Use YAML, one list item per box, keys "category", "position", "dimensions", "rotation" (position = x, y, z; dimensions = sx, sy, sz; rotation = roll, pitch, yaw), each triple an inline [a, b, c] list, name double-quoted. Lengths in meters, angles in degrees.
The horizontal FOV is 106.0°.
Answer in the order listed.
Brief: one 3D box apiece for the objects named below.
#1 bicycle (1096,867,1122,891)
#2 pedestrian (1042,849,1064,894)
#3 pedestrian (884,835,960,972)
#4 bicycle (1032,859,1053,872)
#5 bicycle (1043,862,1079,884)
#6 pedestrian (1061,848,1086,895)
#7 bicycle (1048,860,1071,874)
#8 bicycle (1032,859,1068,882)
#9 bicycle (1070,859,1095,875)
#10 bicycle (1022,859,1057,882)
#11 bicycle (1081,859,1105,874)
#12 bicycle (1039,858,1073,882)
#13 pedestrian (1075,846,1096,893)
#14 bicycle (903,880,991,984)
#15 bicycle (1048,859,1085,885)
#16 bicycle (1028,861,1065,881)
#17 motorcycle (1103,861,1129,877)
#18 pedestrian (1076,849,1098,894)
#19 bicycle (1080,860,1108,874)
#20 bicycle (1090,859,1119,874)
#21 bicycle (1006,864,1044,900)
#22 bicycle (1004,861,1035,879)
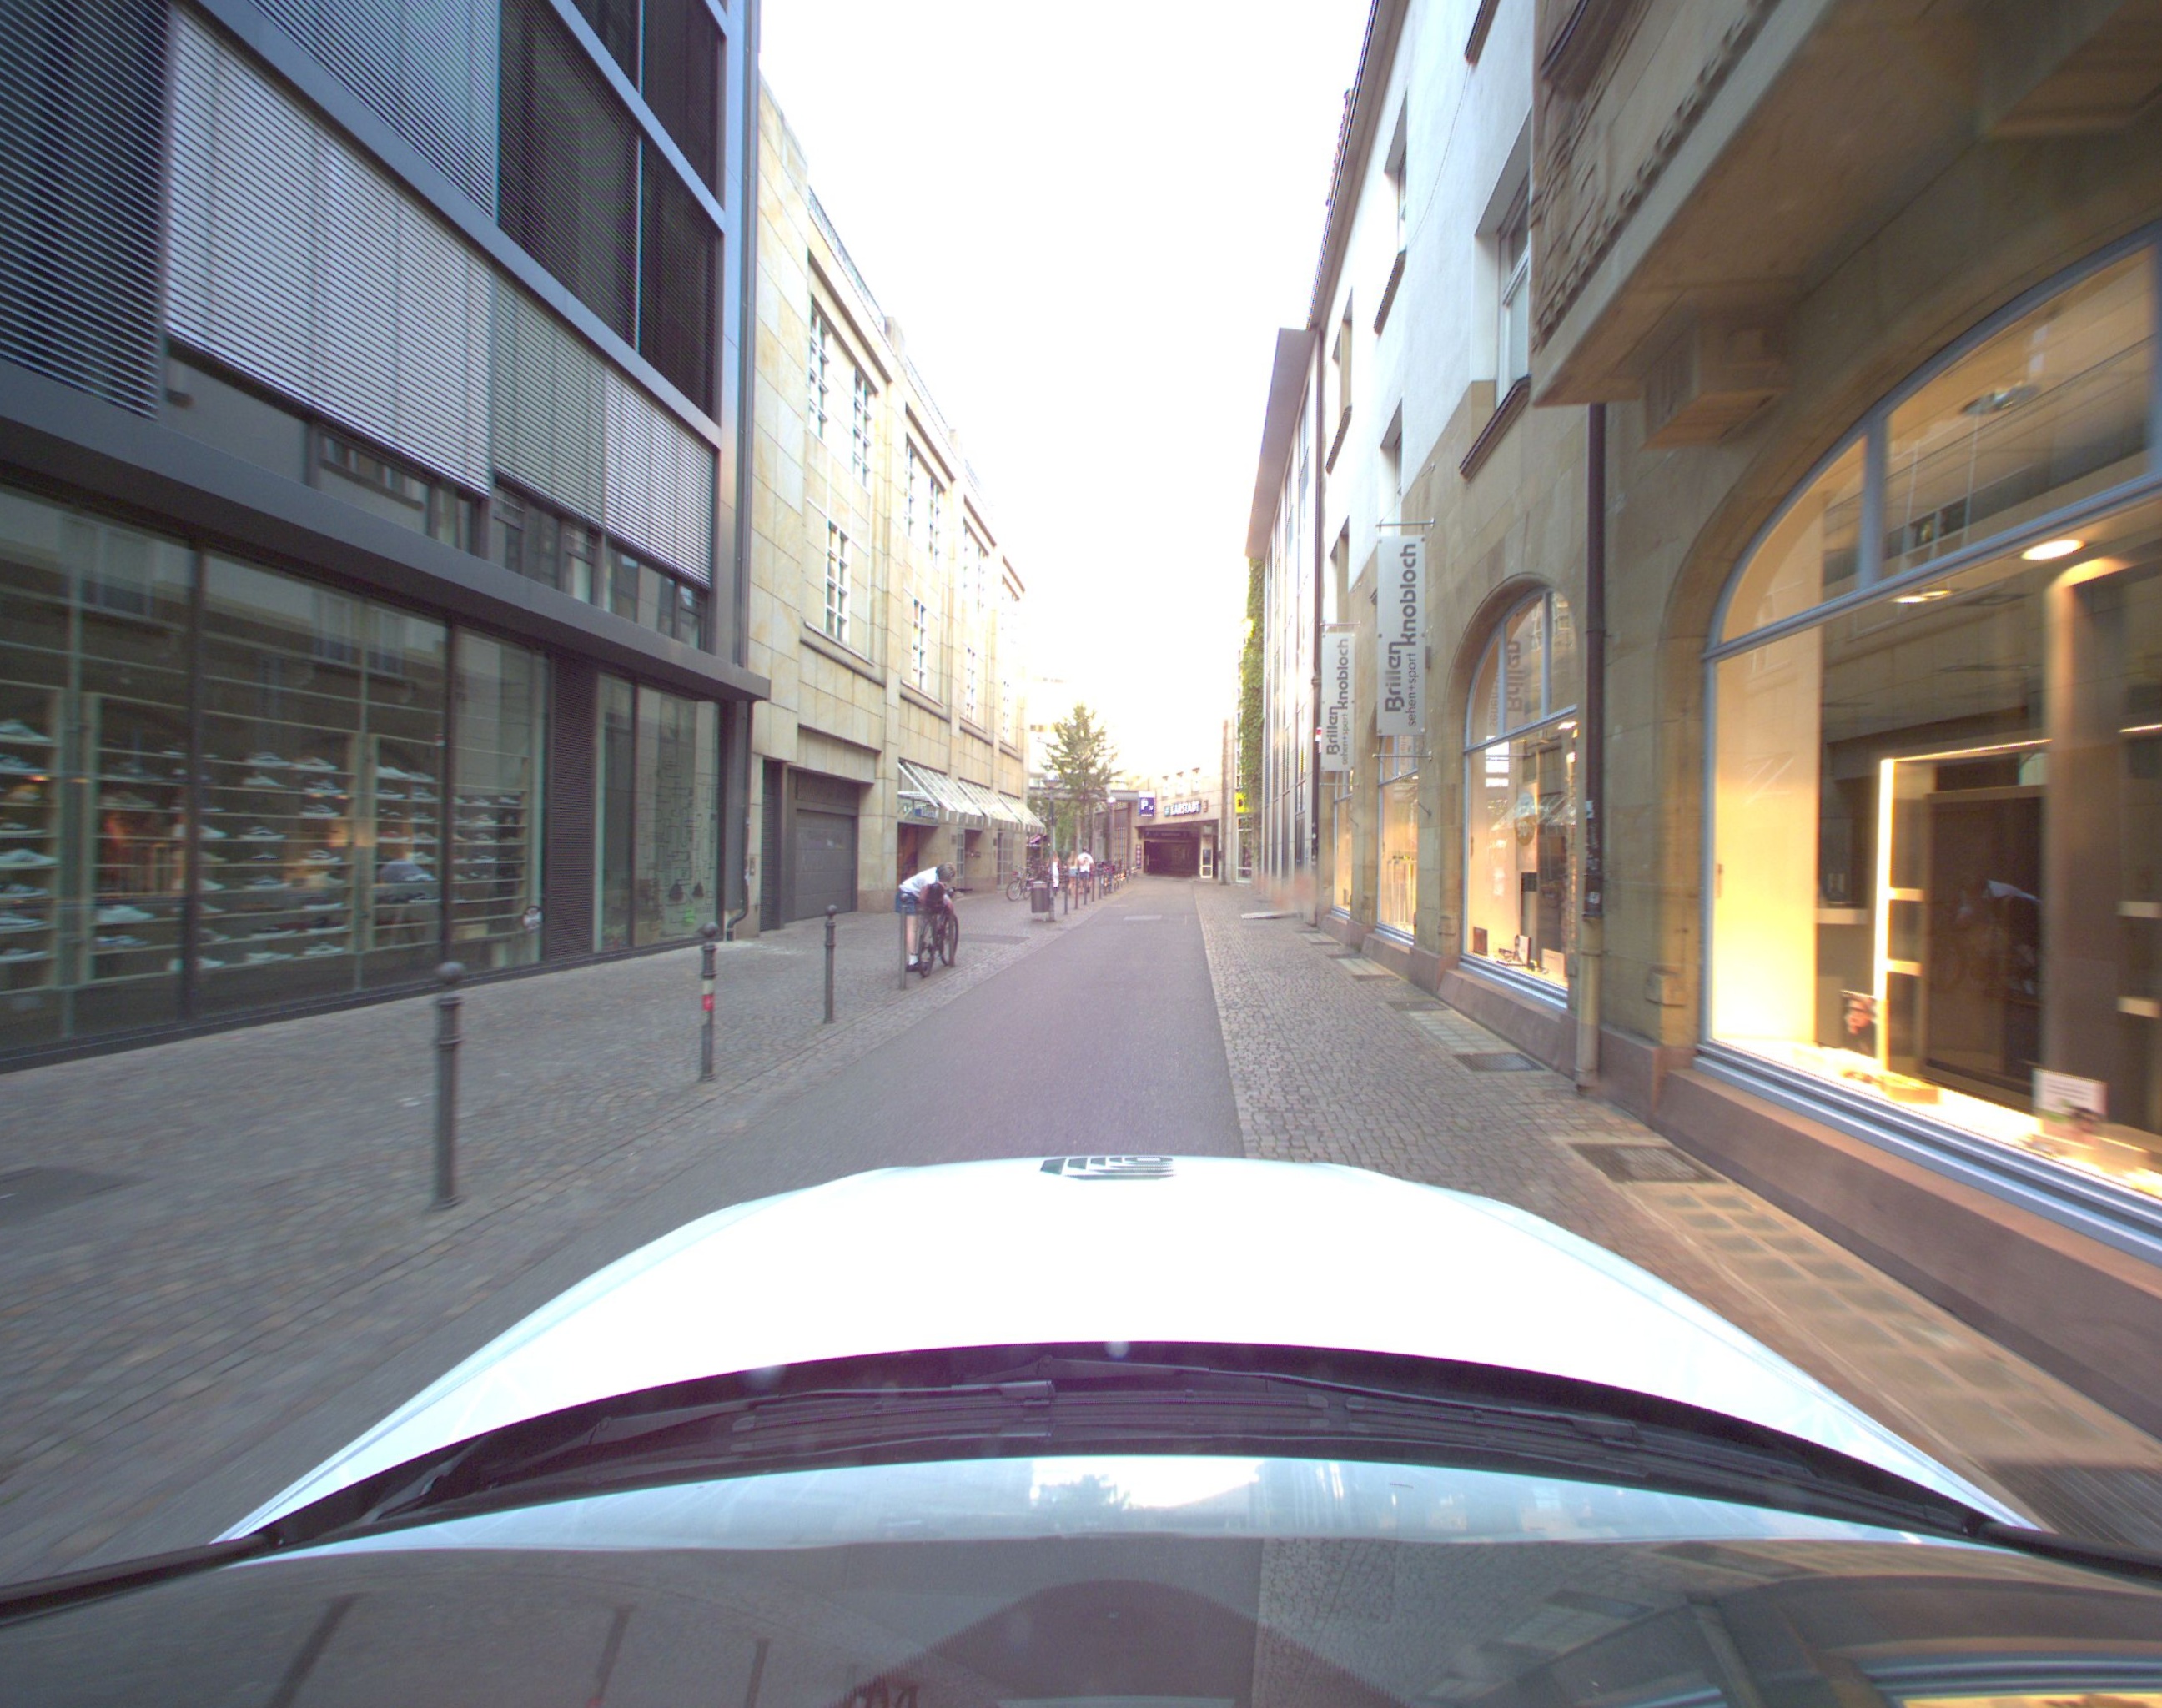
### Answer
- category: "bicycle"
  position: [1.161, 1.036, 33.628]
  dimensions: [0.488, 0.939, 1.668]
  rotation: [2, 0, 22]
- category: "pedestrian"
  position: [-1.046, 0.657, 30.514]
  dimensions: [0.671, 1.664, 0.862]
  rotation: [1, 0, 5]
- category: "pedestrian"
  position: [-2.064, 0.624, 10.658]
  dimensions: [0.764, 1.718, 0.593]
  rotation: [2, 0, 6]
- category: "bicycle"
  position: [-3.380, 0.976, 71.317]
  dimensions: [1.774, 1.114, 0.541]
  rotation: [0, 0, -11]
- category: "bicycle"
  position: [-1.045, 1.010, 42.547]
  dimensions: [1.840, 1.122, 0.531]
  rotation: [0, 0, -16]
- category: "pedestrian"
  position: [-0.262, 0.643, 30.211]
  dimensions: [0.802, 1.729, 0.950]
  rotation: [1, 0, 5]
- category: "bicycle"
  position: [-1.718, 1.023, 65.318]
  dimensions: [1.776, 1.114, 0.540]
  rotation: [0, 0, -14]
- category: "bicycle"
  position: [-1.655, 0.883, 43.575]
  dimensions: [1.876, 1.177, 0.531]
  rotation: [0, 0, -16]
- category: "bicycle"
  position: [0.083, 0.967, 60.601]
  dimensions: [1.776, 1.114, 0.540]
  rotation: [0, 0, -14]
- category: "bicycle"
  position: [-2.302, 0.906, 44.858]
  dimensions: [1.837, 1.225, 0.531]
  rotation: [0, 0, -16]
- category: "bicycle"
  position: [0.826, 0.847, 55.866]
  dimensions: [1.541, 1.049, 0.573]
  rotation: [0, 0, -14]
- category: "bicycle"
  position: [-1.265, 0.819, 41.674]
  dimensions: [1.657, 1.231, 0.531]
  rotation: [0, 0, -16]
- category: "pedestrian"
  position: [0.189, 0.611, 31.954]
  dimensions: [0.738, 1.822, 0.879]
  rotation: [0, 0, 5]
- category: "bicycle"
  position: [-1.706, 0.964, 10.679]
  dimensions: [0.530, 1.153, 1.919]
  rotation: [2, 0, 8]
- category: "bicycle"
  position: [-0.707, 0.890, 40.325]
  dimensions: [1.770, 1.231, 0.531]
  rotation: [0, 0, -16]
- category: "bicycle"
  position: [-1.869, 0.922, 44.132]
  dimensions: [1.898, 1.052, 0.531]
  rotation: [0, 0, -16]
- category: "motorcycle"
  position: [2.239, 0.950, 52.172]
  dimensions: [1.665, 1.050, 0.461]
  rotation: [0, 0, -14]
- category: "pedestrian"
  position: [0.246, 0.716, 33.102]
  dimensions: [0.781, 1.795, 0.974]
  rotation: [0, 0, 6]
- category: "bicycle"
  position: [0.874, 0.882, 54.836]
  dimensions: [1.776, 0.904, 0.461]
  rotation: [0, 0, -14]
- category: "bicycle"
  position: [1.555, 0.842, 53.943]
  dimensions: [1.850, 0.982, 0.461]
  rotation: [0, 0, -14]
- category: "bicycle"
  position: [-1.848, 0.897, 27.087]
  dimensions: [0.517, 1.138, 1.774]
  rotation: [0, 0, 23]
- category: "bicycle"
  position: [-3.827, 0.988, 50.606]
  dimensions: [1.828, 1.043, 0.531]
  rotation: [0, 0, -16]
